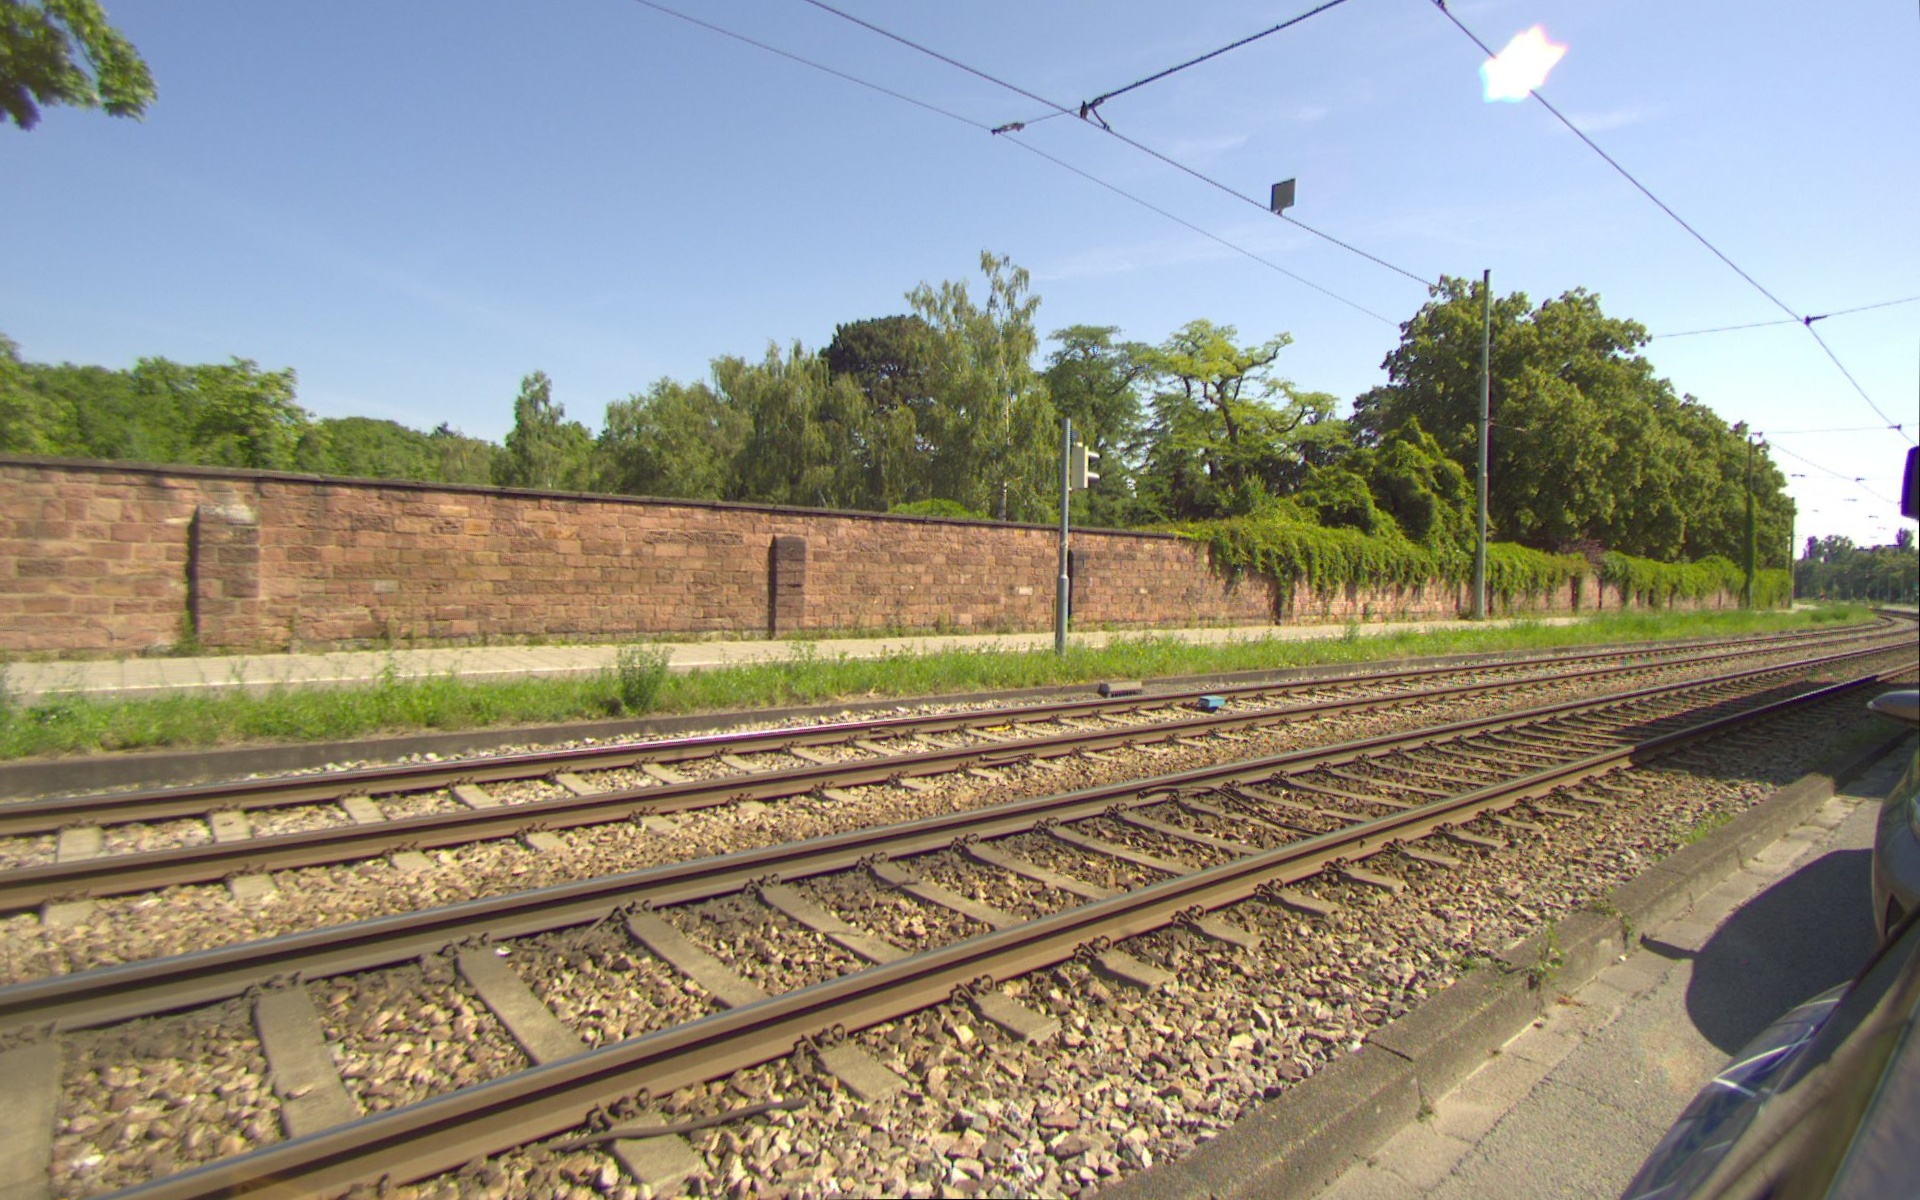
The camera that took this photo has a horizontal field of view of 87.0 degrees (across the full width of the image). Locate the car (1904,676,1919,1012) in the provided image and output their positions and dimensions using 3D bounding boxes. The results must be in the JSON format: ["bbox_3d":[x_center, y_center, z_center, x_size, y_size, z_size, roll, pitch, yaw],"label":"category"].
[{"bbox_3d":[5.150,0.668,4.041,3.930,1.448,1.573,0,2,-41],"label":"car"}]

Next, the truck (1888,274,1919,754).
[{"bbox_3d":[14.249,-0.655,12.072,14.652,3.927,2.934,0,2,-41],"label":"truck"}]
